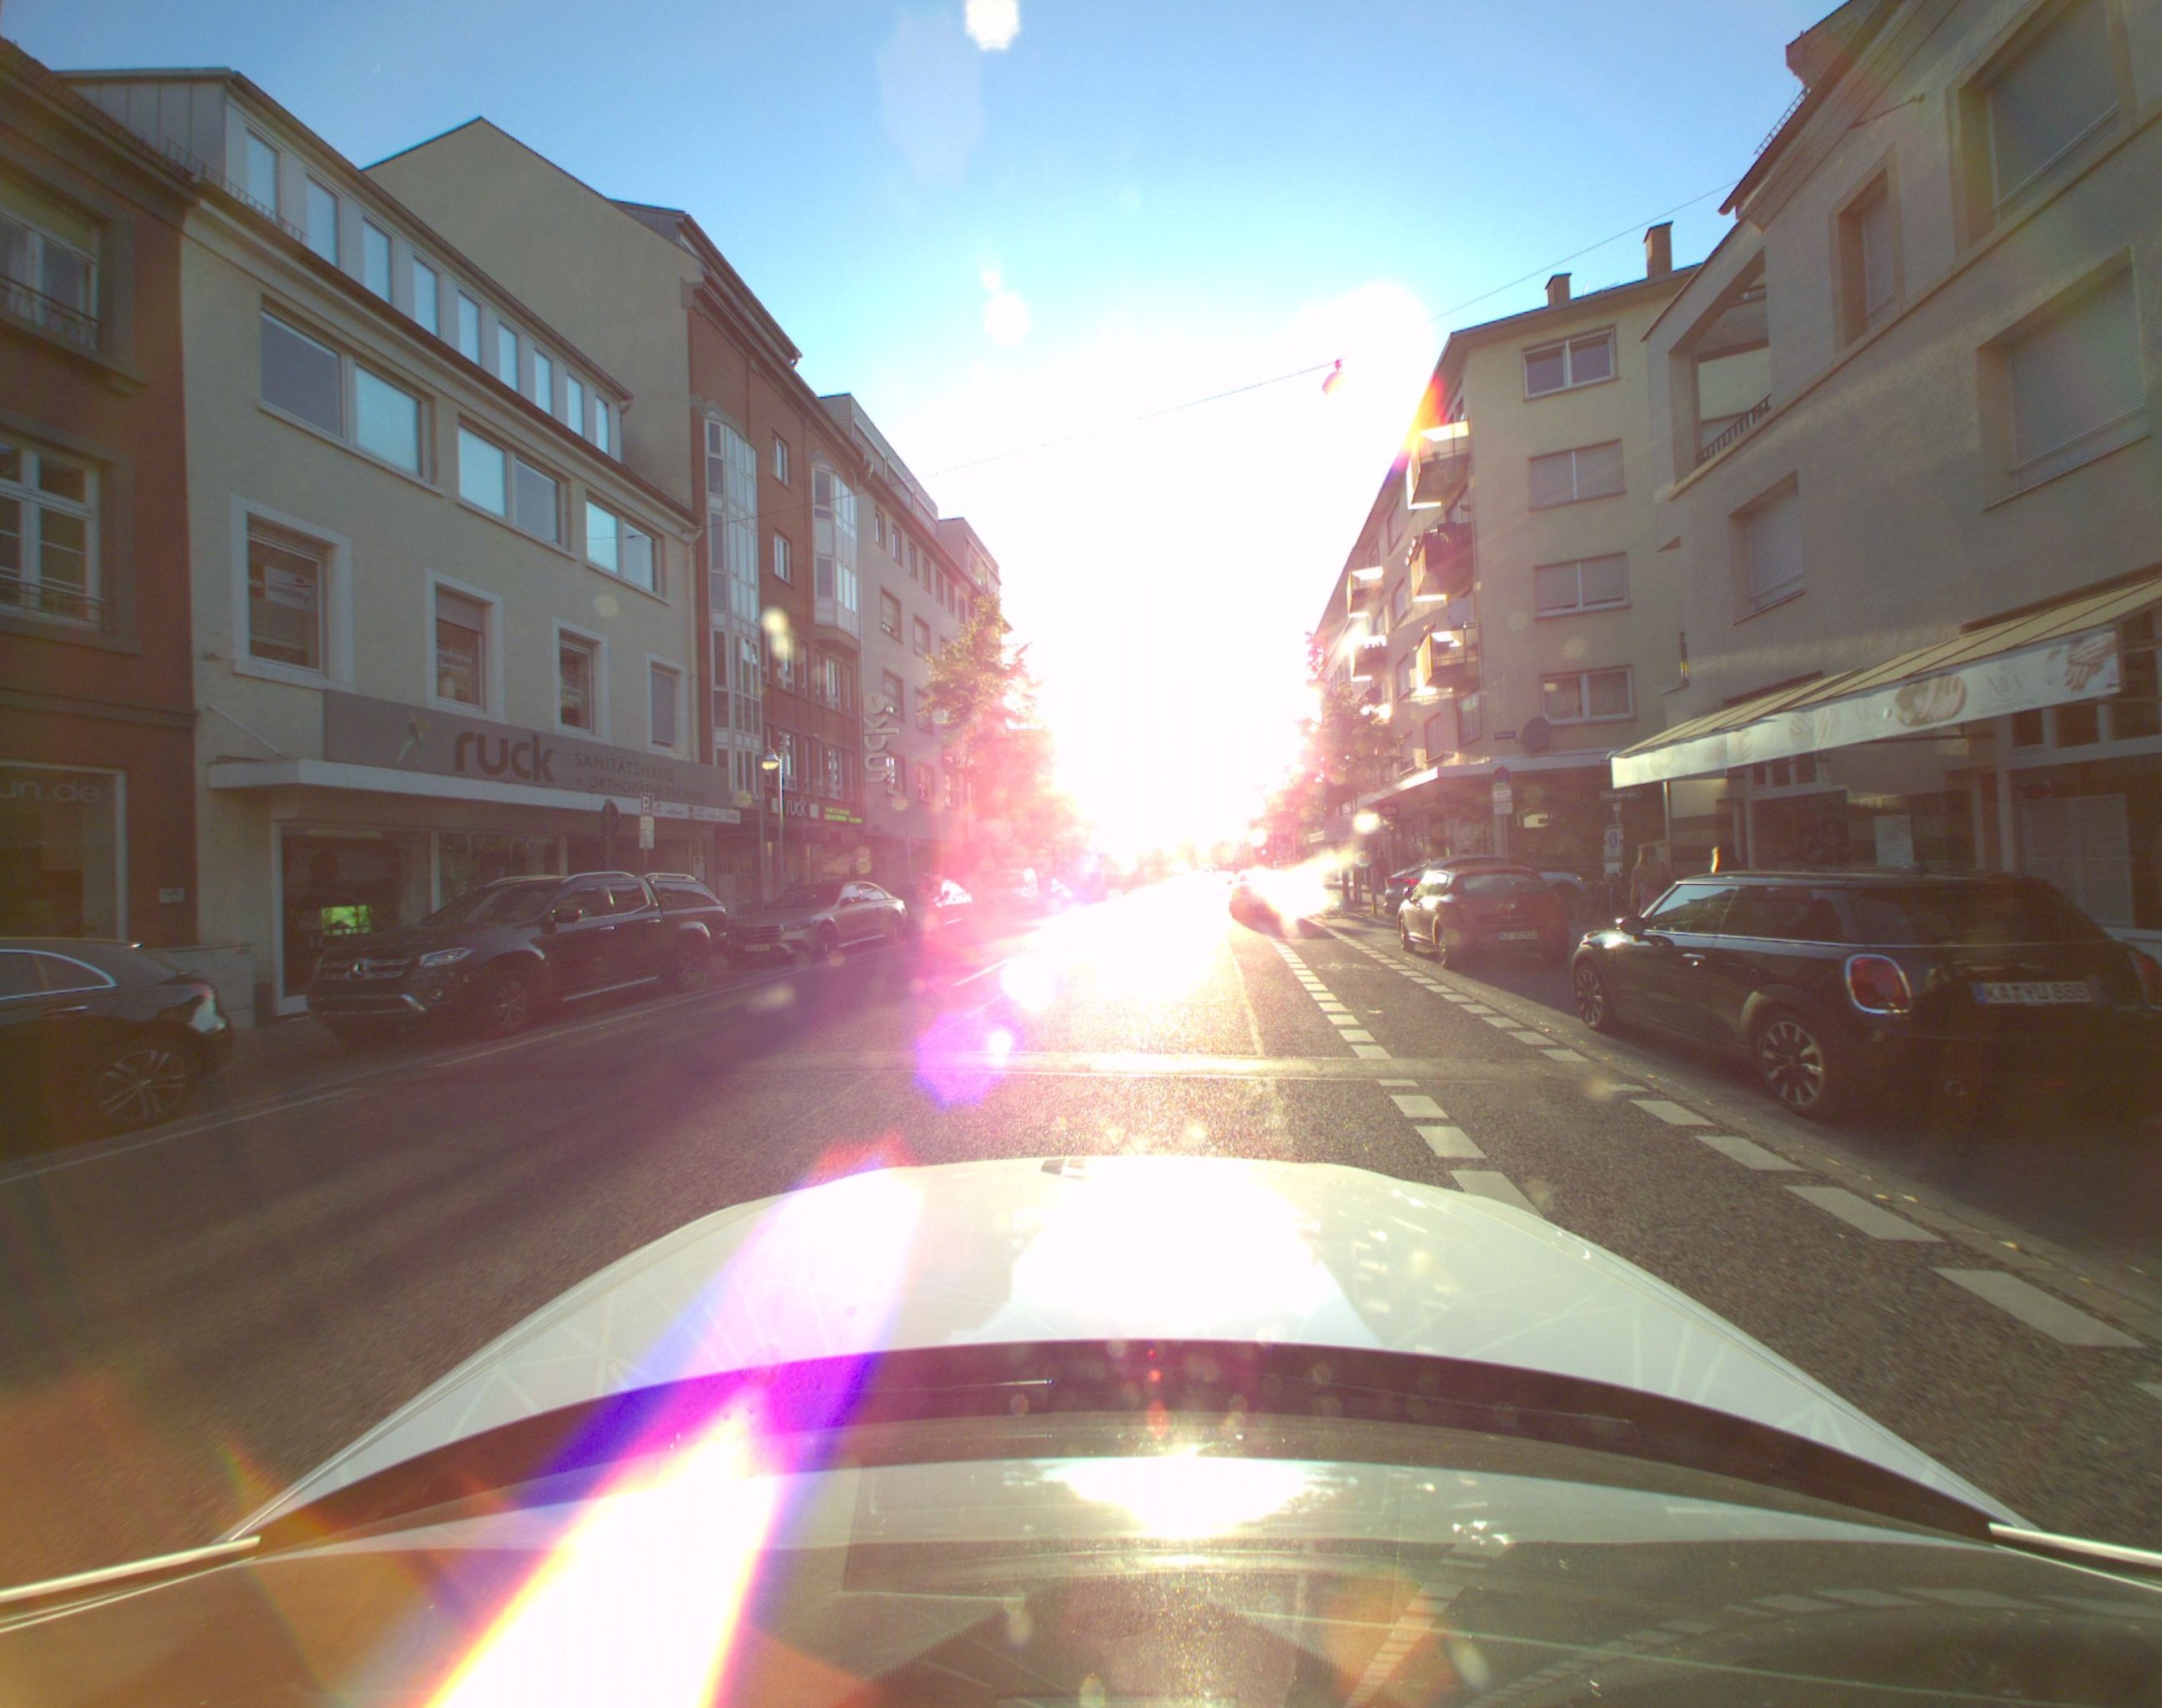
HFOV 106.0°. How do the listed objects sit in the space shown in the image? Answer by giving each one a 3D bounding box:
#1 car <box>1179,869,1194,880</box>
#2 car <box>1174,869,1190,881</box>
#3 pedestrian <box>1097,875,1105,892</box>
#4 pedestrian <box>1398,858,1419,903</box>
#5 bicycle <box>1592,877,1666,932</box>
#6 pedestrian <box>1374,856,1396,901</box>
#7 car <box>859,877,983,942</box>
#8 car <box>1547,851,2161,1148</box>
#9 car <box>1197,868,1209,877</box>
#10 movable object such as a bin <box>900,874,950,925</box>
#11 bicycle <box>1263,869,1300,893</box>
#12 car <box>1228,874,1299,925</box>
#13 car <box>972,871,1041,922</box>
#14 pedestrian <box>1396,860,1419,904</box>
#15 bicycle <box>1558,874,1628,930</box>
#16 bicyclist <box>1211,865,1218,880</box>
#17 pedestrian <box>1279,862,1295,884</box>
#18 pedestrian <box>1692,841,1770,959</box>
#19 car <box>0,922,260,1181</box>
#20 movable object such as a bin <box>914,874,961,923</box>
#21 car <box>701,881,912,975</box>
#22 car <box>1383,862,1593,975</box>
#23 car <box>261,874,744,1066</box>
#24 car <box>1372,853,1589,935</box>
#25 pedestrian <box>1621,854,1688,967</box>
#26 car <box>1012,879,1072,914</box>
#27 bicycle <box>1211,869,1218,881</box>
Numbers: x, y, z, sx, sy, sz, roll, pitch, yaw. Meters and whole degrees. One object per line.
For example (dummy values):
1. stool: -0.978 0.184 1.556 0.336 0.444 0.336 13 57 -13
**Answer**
1. car: 17.929 3.414 138.568 2.290 1.678 5.546 -3 -1 9
2. car: 16.237 3.349 131.128 2.290 1.678 5.546 -3 -1 9
3. pedestrian: 1.840 2.791 76.053 0.694 1.548 0.870 -3 -2 1
4. pedestrian: 13.061 1.036 32.496 0.580 1.783 0.526 0 -1 -11
5. bicycle: 11.106 0.995 16.563 0.389 1.033 1.847 -2 -1 6
6. pedestrian: 12.479 1.006 33.421 0.703 1.807 0.652 -1 -1 9
7. car: -4.392 1.495 23.165 1.904 1.511 4.649 -3 -1 8
8. car: 5.146 0.767 5.924 1.713 1.421 3.757 -3 -1 8
9. car: 26.204 3.910 174.748 2.290 1.678 5.546 -3 -1 9
10. movable object such as a bin: -5.320 1.549 27.929 1.273 1.673 1.371 1 -1 6
11. bicycle: 11.067 1.489 44.918 1.900 1.204 0.471 -3 -2 10
12. car: 5.496 1.335 25.011 1.790 1.378 4.562 -1 -1 8
13. car: -2.905 1.642 32.581 1.905 1.787 4.154 -3 -1 6
14. pedestrian: 12.586 1.058 31.392 0.638 1.660 0.779 -1 -1 9
15. bicycle: 10.437 0.950 16.650 0.389 1.050 1.847 -2 -1 6
16. bicyclist: 15.082 2.076 92.299 0.674 1.707 0.671 -3 -2 10
17. pedestrian: 16.826 1.522 66.460 0.796 1.726 1.000 -6 -3 37
18. pedestrian: 8.740 0.611 10.975 0.536 1.530 0.653 -2 -2 14
19. car: -7.718 1.312 4.472 1.755 1.511 4.228 -3 -1 9
20. movable object such as a bin: -5.148 1.578 29.354 1.274 1.673 1.443 1 -1 7
21. car: -5.512 1.430 17.268 1.981 1.511 5.126 -3 -1 9
22. car: 6.163 0.896 12.876 1.713 1.421 4.041 -3 -1 8
23. car: -6.872 1.232 10.707 1.982 1.769 5.311 -3 -1 8
24. car: 9.322 0.933 19.278 4.153 1.611 1.858 -3 -2 2
25. pedestrian: 7.997 0.779 11.384 0.536 1.530 0.556 -2 -2 14
26. car: -1.770 1.966 38.516 1.904 1.386 4.392 -3 -1 8
27. bicycle: 15.107 2.374 92.317 0.674 1.402 2.236 -3 -1 11
